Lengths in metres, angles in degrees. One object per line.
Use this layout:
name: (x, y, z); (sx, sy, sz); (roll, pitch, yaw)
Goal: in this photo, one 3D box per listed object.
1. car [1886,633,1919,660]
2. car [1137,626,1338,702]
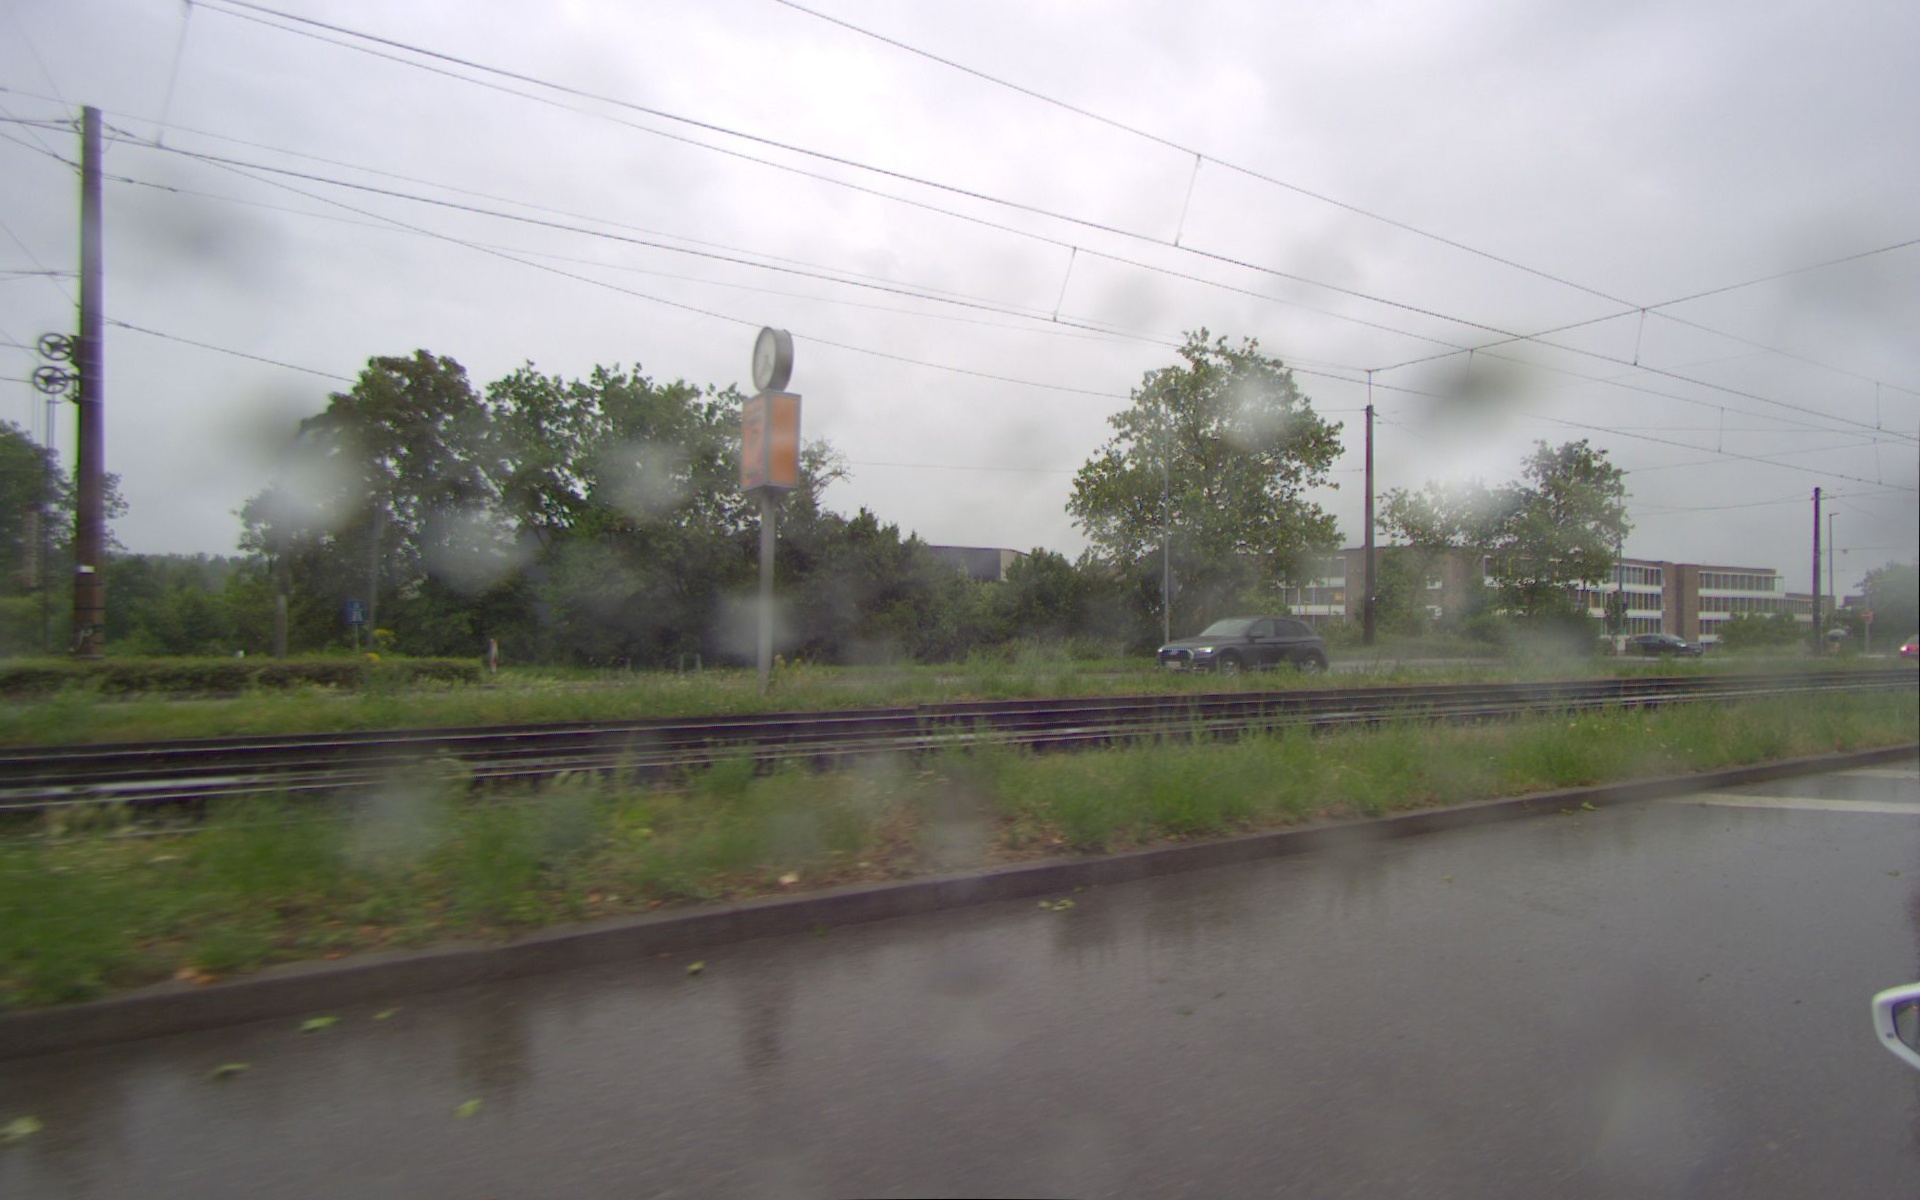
car: (54.545, 2.615, 57.165); (3.954, 1.514, 1.712); (1, -2, -31)
car: (6.701, 1.453, 24.025); (4.937, 1.637, 1.931); (1, -1, -34)
